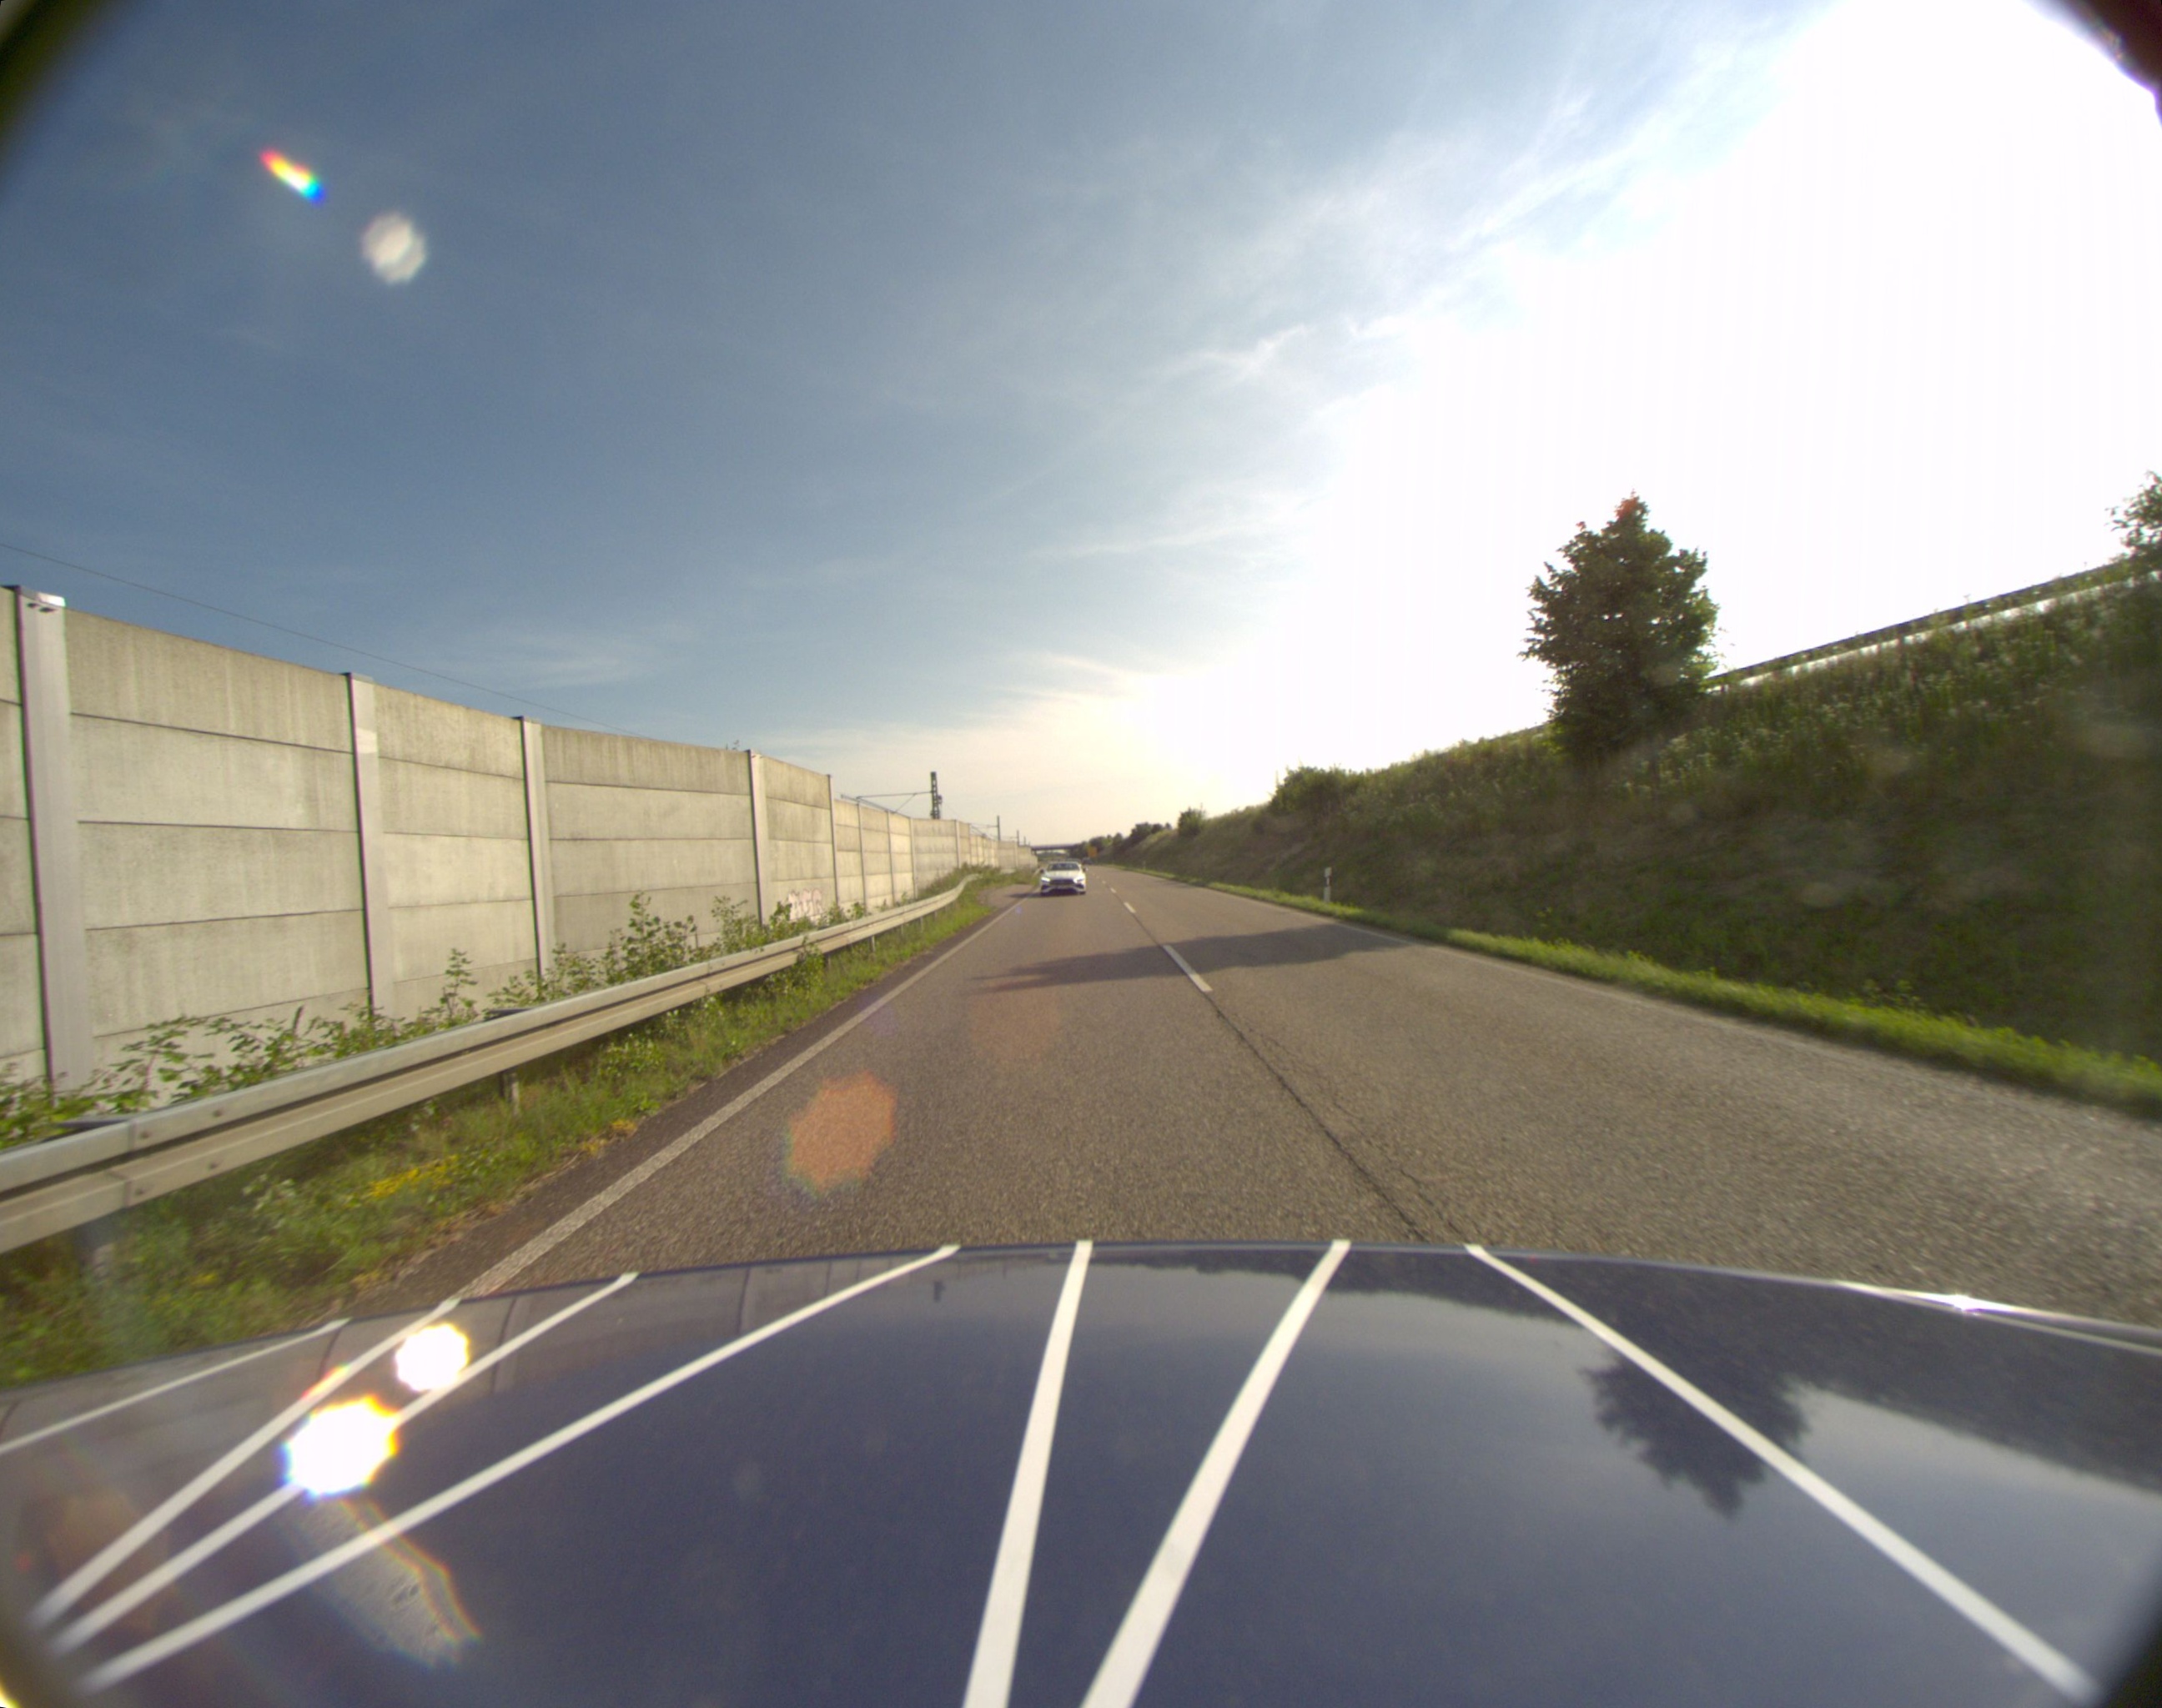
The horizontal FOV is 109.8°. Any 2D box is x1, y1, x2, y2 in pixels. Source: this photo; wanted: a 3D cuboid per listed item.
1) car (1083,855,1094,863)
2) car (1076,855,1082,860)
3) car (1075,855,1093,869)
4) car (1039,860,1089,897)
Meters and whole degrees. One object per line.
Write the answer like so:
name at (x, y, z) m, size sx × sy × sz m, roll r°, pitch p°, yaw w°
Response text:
car at (1.527, 1.027, 157.090) m, size 2.146 × 1.564 × 5.339 m, roll -3°, pitch 0°, yaw -1°
car at (-0.505, 0.949, 208.636) m, size 1.721 × 1.445 × 4.018 m, roll -1°, pitch 0°, yaw -1°
car at (0.282, 0.814, 82.669) m, size 1.930 × 1.399 × 4.973 m, roll -2°, pitch 1°, yaw -1°
car at (-0.703, 0.990, 32.904) m, size 1.930 × 1.398 × 4.974 m, roll -2°, pitch 0°, yaw 0°
